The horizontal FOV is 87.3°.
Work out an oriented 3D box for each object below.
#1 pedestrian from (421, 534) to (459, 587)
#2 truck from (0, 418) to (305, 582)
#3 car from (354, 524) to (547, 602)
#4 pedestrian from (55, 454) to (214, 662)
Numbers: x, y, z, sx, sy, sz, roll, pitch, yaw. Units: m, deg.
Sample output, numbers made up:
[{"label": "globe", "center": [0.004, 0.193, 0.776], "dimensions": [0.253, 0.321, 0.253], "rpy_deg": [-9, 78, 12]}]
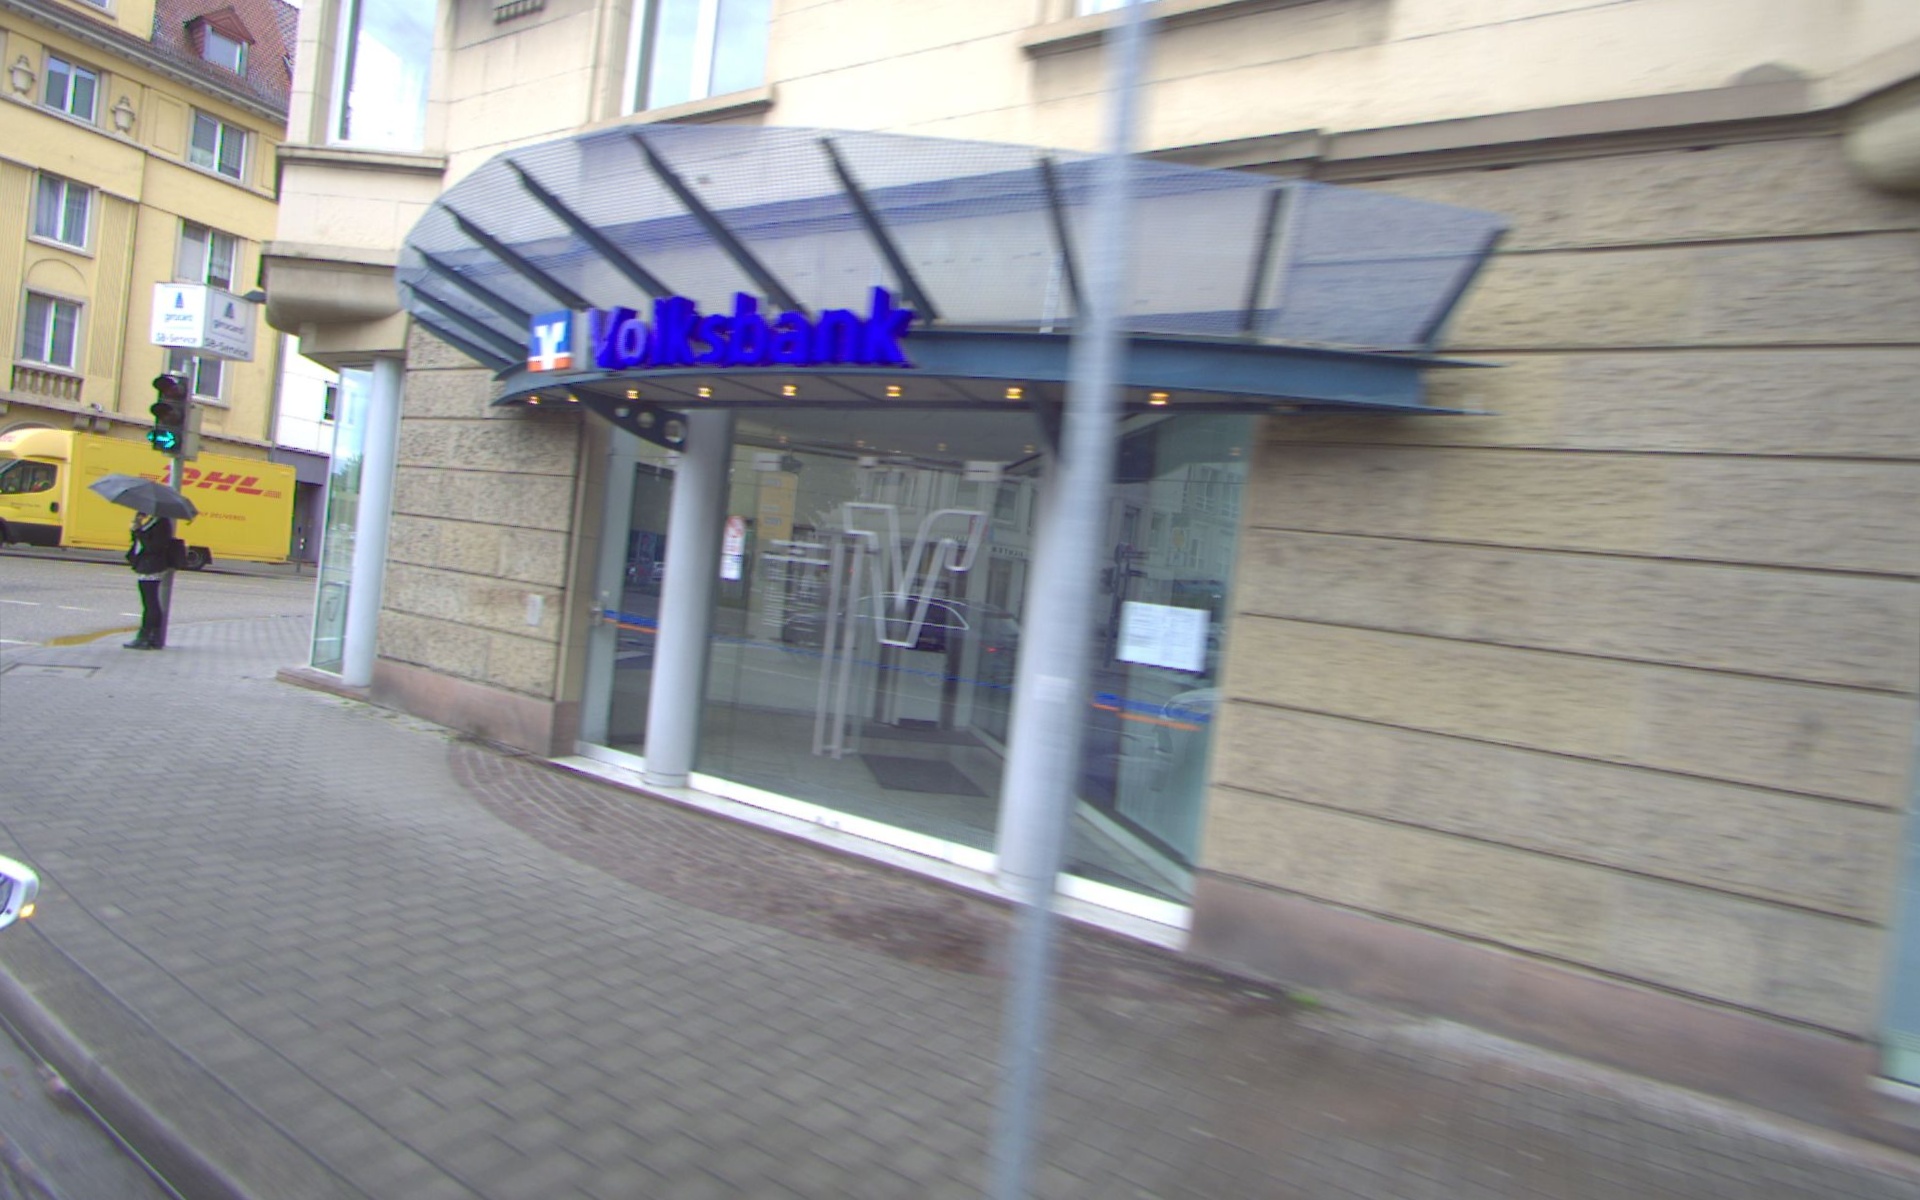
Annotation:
[{"label": "pedestrian", "center": [-18.848, -1.431, 36.470], "dimensions": [0.750, 1.813, 0.791], "rpy_deg": [7, 0, 31]}, {"label": "truck", "center": [-19.683, -2.254, 23.379], "dimensions": [2.048, 2.885, 7.102], "rpy_deg": [7, -1, 31]}, {"label": "car", "center": [-15.388, -1.060, 30.664], "dimensions": [1.966, 1.705, 4.818], "rpy_deg": [7, 0, 31]}, {"label": "pedestrian", "center": [-8.415, -0.414, 10.323], "dimensions": [1.052, 1.927, 1.014], "rpy_deg": [7, 1, -37]}]
